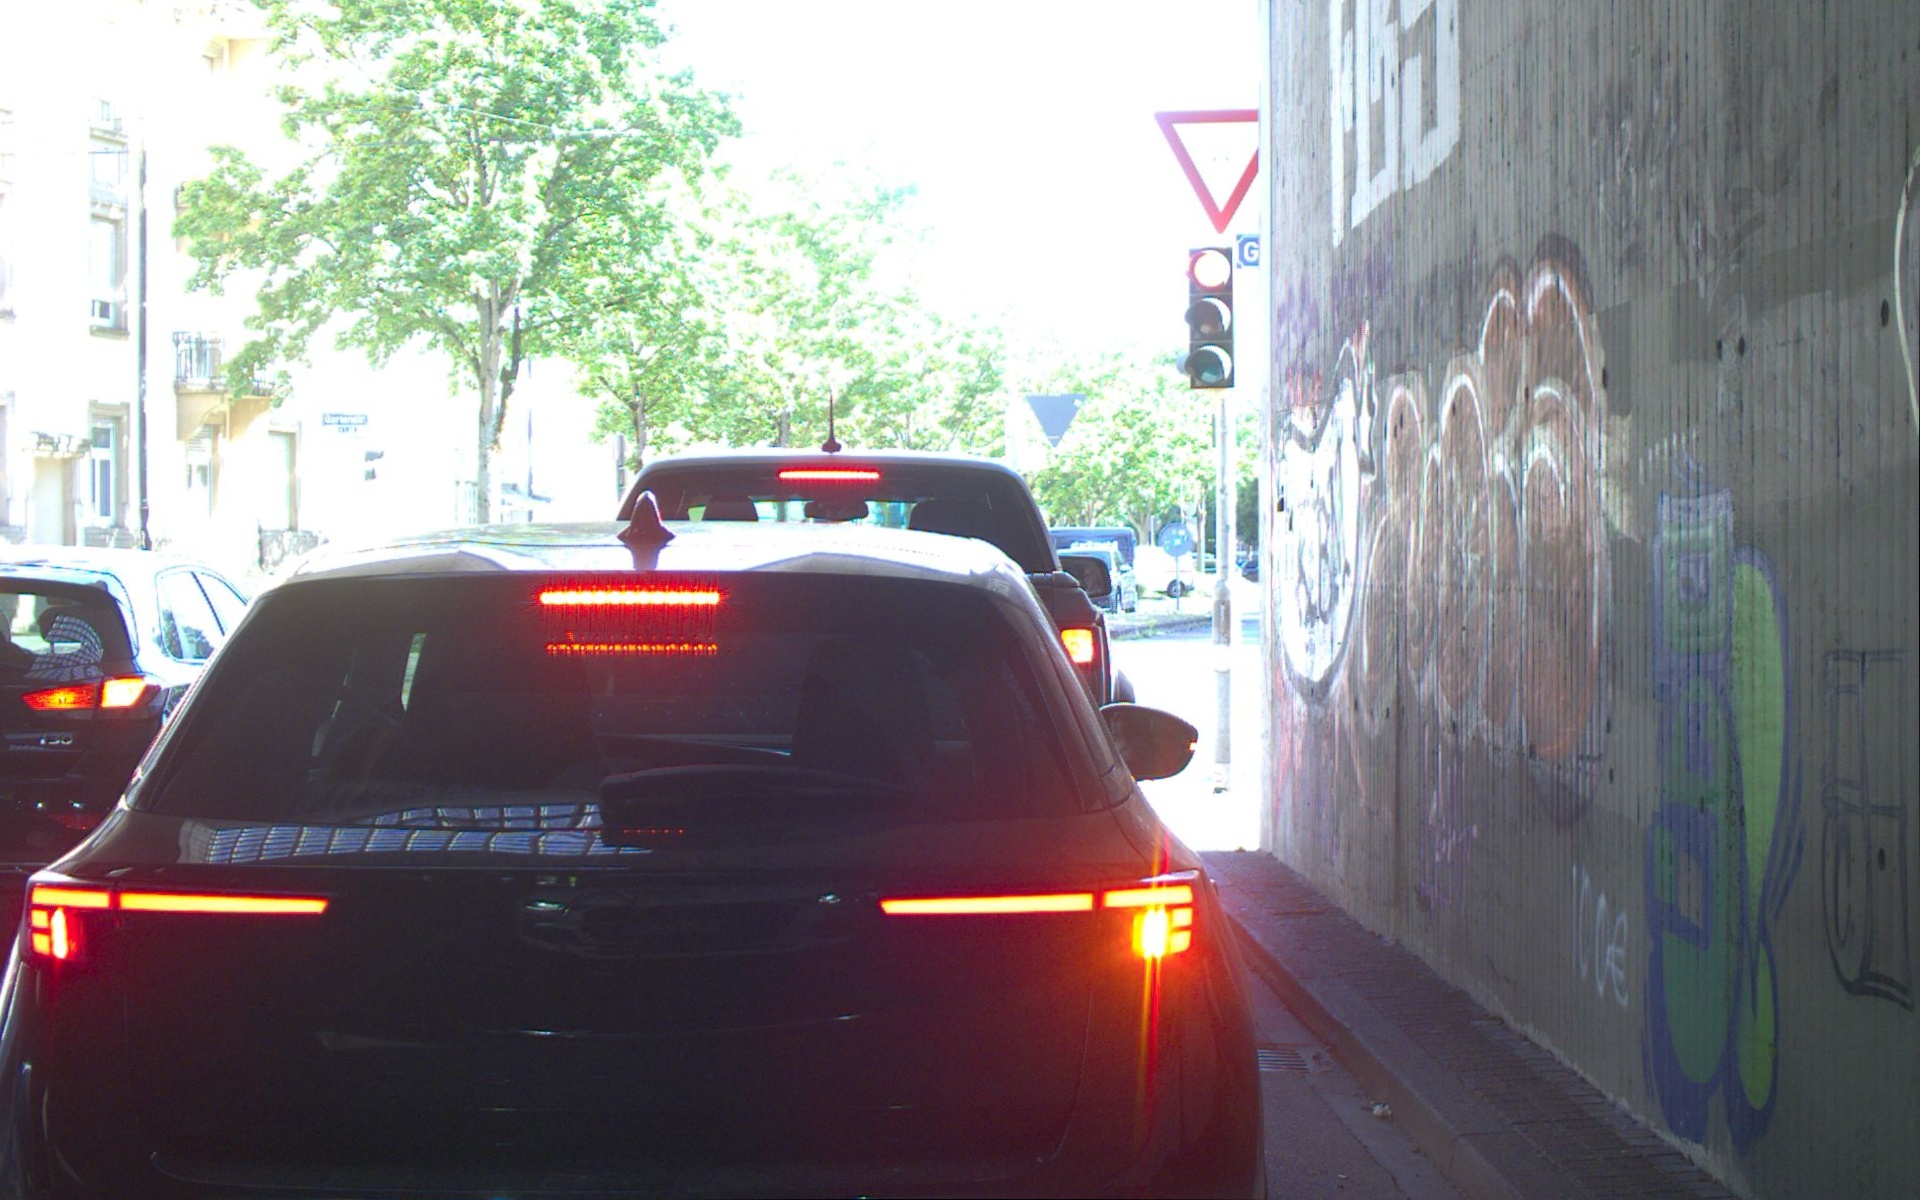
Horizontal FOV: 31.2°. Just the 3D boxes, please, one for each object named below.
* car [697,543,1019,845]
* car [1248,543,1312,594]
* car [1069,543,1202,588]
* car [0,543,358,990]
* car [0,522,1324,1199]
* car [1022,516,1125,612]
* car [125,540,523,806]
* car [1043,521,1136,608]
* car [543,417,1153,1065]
[{"bbox_3d":[-0.533,0.440,19.260,1.609,1.508,4.054,0,1,-1],"label":"car"},{"bbox_3d":[10.792,-1.053,115.726,1.754,1.661,3.943,1,1,11],"label":"car"},{"bbox_3d":[6.831,-1.336,133.774,4.798,1.661,1.824,1,1,-21],"label":"car"},{"bbox_3d":[-3.526,0.519,13.288,1.762,1.475,3.844,0,1,-1],"label":"car"},{"bbox_3d":[-0.477,0.639,6.099,1.762,1.526,4.089,0,1,-1],"label":"car"},{"bbox_3d":[2.080,-0.646,62.195,1.754,1.661,3.944,1,1,3],"label":"car"},{"bbox_3d":[-3.775,0.373,21.012,1.762,1.475,3.844,0,1,-1],"label":"car"},{"bbox_3d":[2.601,-0.699,68.314,1.754,1.661,3.944,1,1,3],"label":"car"},{"bbox_3d":[-0.349,0.377,12.040,1.762,1.876,4.146,0,1,-1],"label":"car"}]
